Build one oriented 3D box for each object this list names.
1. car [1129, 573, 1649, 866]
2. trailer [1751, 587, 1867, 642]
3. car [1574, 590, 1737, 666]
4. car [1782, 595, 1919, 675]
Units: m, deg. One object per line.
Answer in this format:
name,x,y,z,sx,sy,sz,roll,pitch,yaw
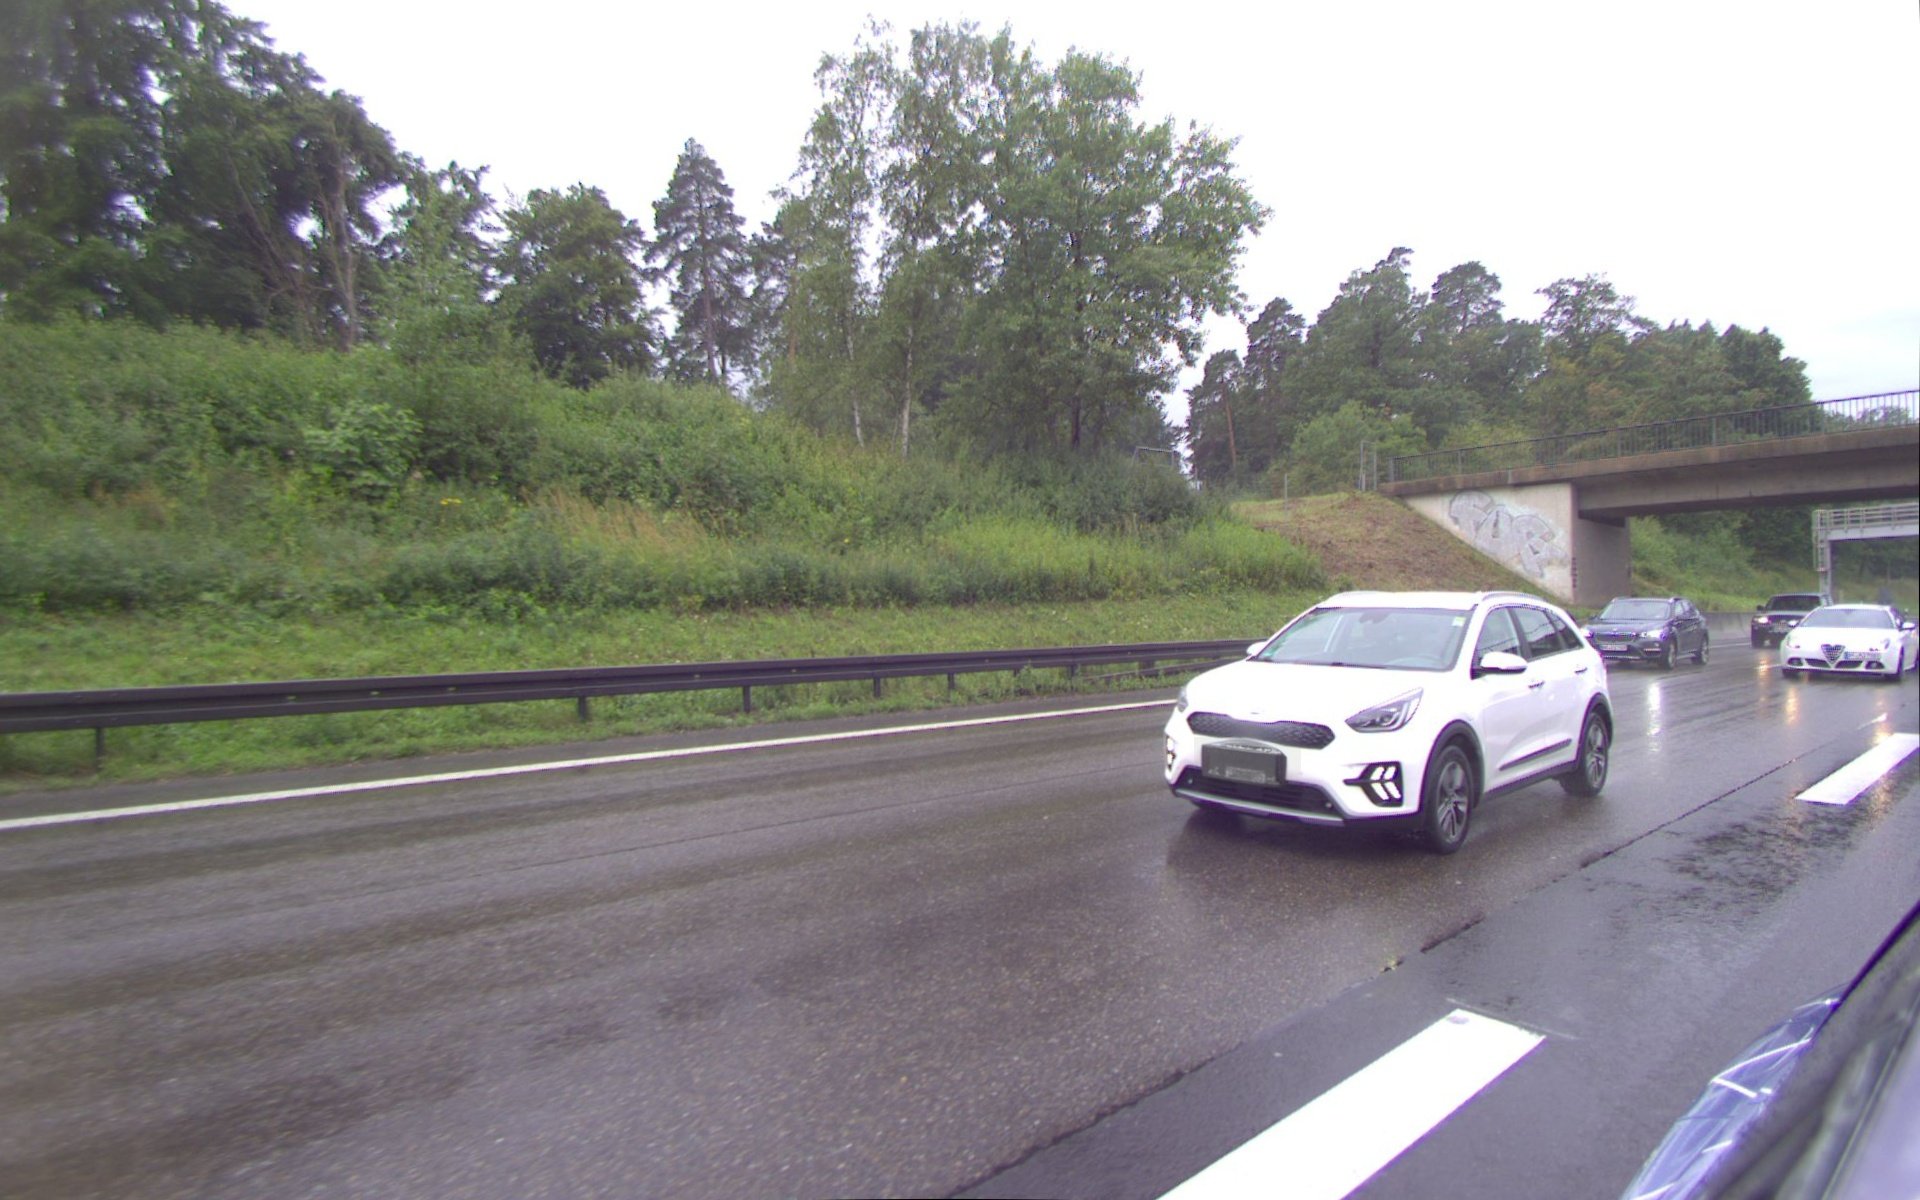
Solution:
car,3.335,0.623,7.450,4.267,1.542,1.849,0,0,-41
trailer,28.991,0.457,34.505,4.992,1.736,2.247,0,0,-40
car,16.298,0.577,23.638,4.683,1.603,1.993,0,0,-40
car,18.282,0.624,20.438,4.404,1.443,1.893,0,0,-41
